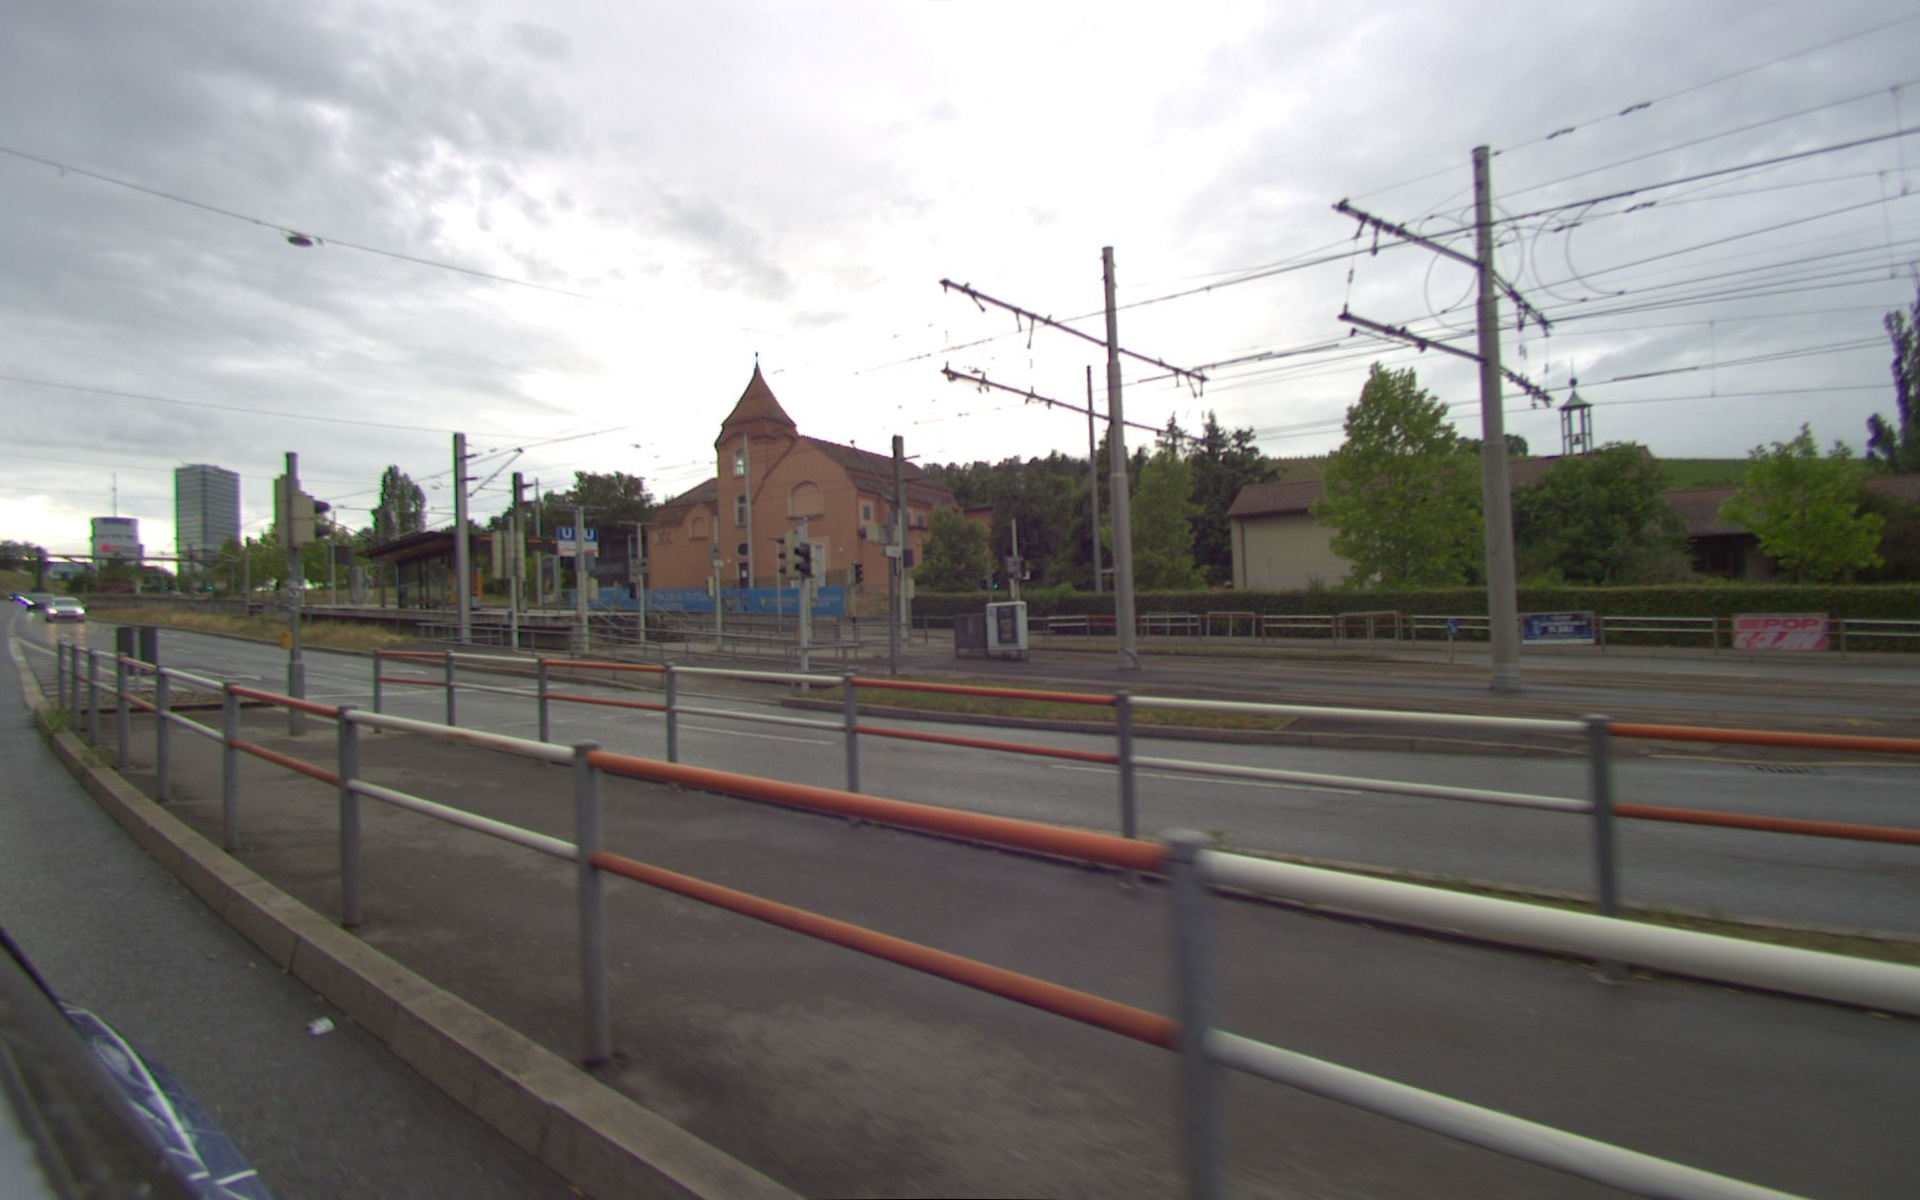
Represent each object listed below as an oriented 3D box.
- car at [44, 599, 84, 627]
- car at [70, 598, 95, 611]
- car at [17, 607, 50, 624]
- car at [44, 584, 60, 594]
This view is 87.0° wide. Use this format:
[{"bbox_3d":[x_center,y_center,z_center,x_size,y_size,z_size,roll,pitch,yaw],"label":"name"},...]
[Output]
[{"bbox_3d":[-53.619,0.772,60.556,1.713,1.599,4.004,1,-1,-43],"label":"car"},{"bbox_3d":[-103.182,0.564,118.986,4.001,1.482,1.777,-1,-1,44],"label":"car"},{"bbox_3d":[-83.205,1.382,90.883,3.998,1.482,1.778,-1,-1,41],"label":"car"},{"bbox_3d":[-143.931,-1.802,160.393,1.775,1.482,4.006,1,-1,-41],"label":"car"}]
